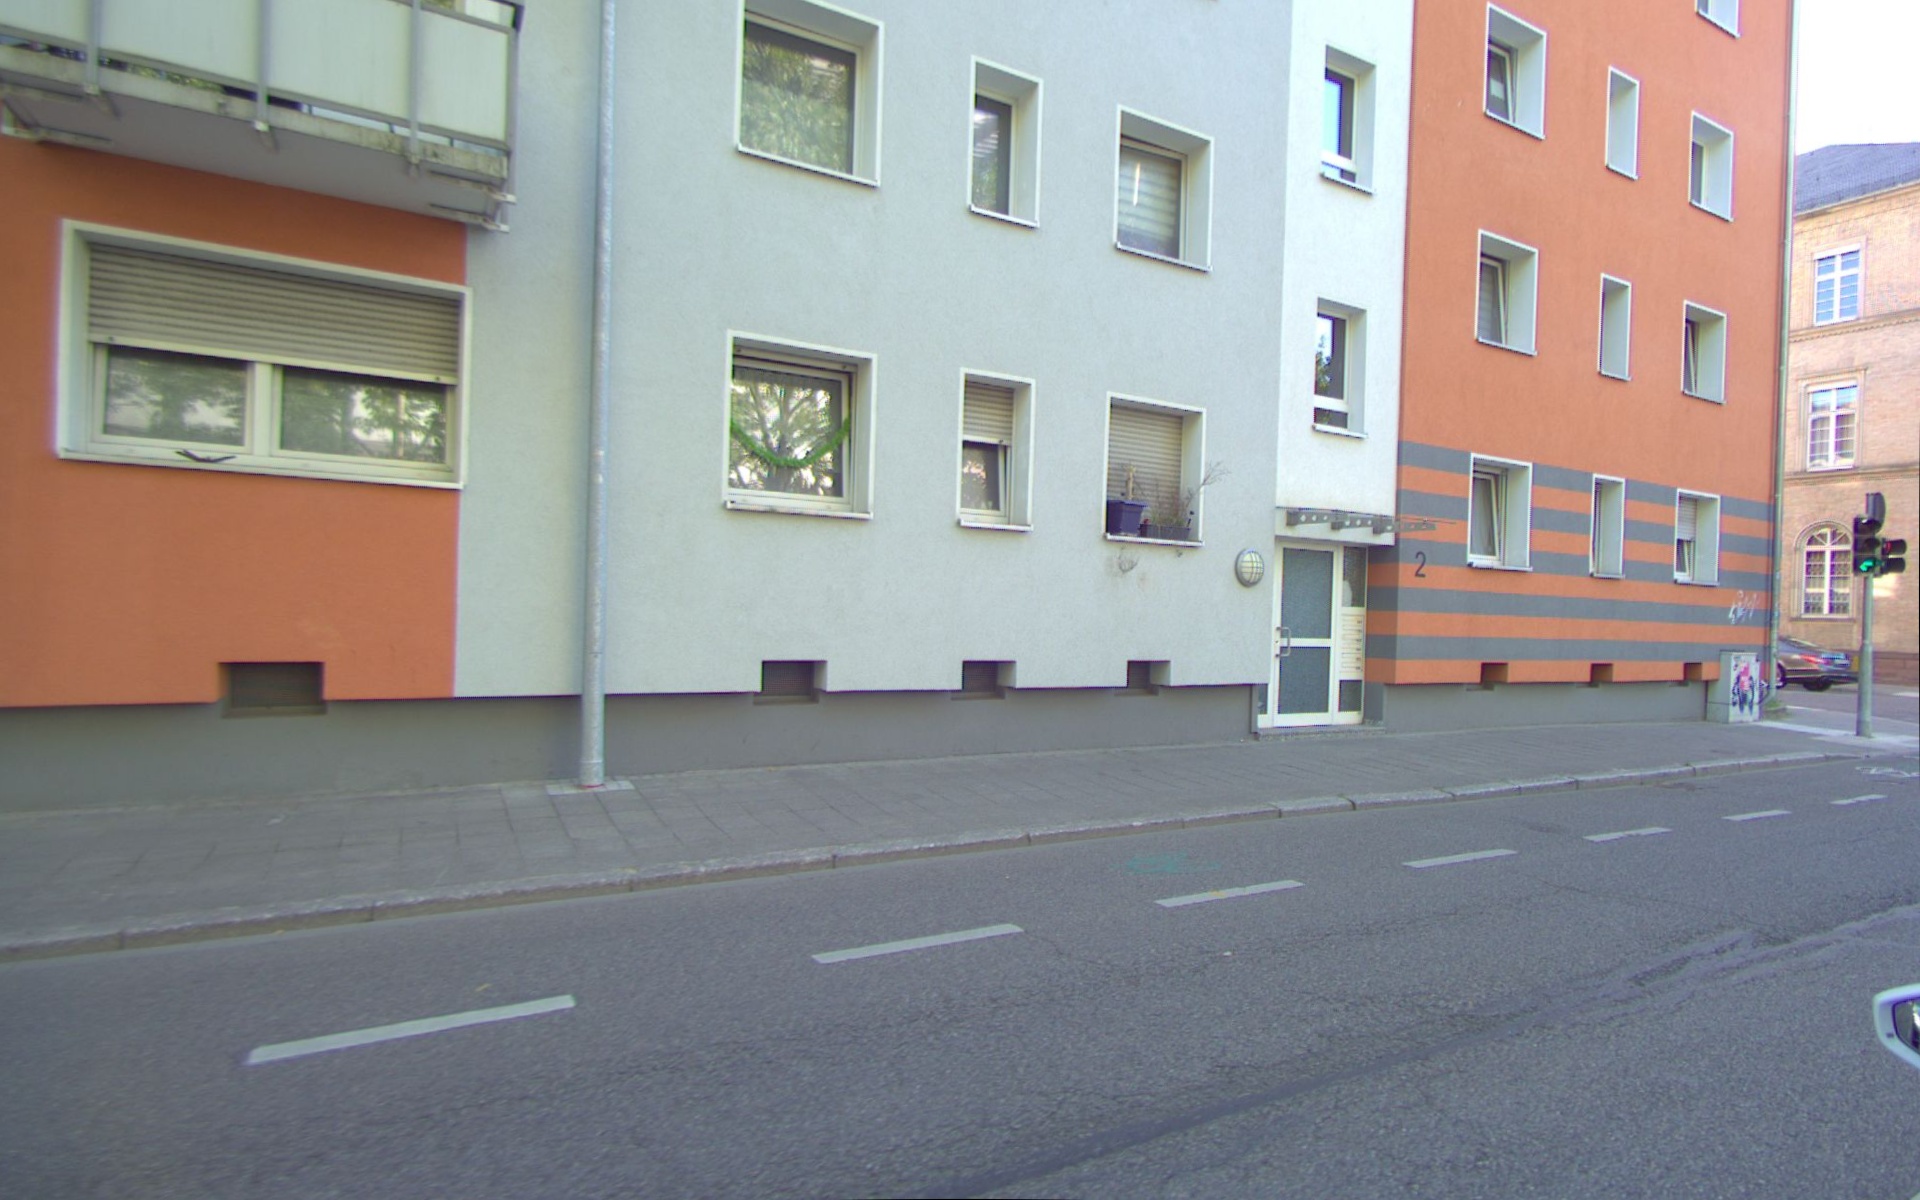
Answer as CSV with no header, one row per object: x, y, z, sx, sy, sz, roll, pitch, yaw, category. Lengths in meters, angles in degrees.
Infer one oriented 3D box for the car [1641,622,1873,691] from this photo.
20.991,1.431,26.710,1.901,1.550,4.485,2,0,-22,car
